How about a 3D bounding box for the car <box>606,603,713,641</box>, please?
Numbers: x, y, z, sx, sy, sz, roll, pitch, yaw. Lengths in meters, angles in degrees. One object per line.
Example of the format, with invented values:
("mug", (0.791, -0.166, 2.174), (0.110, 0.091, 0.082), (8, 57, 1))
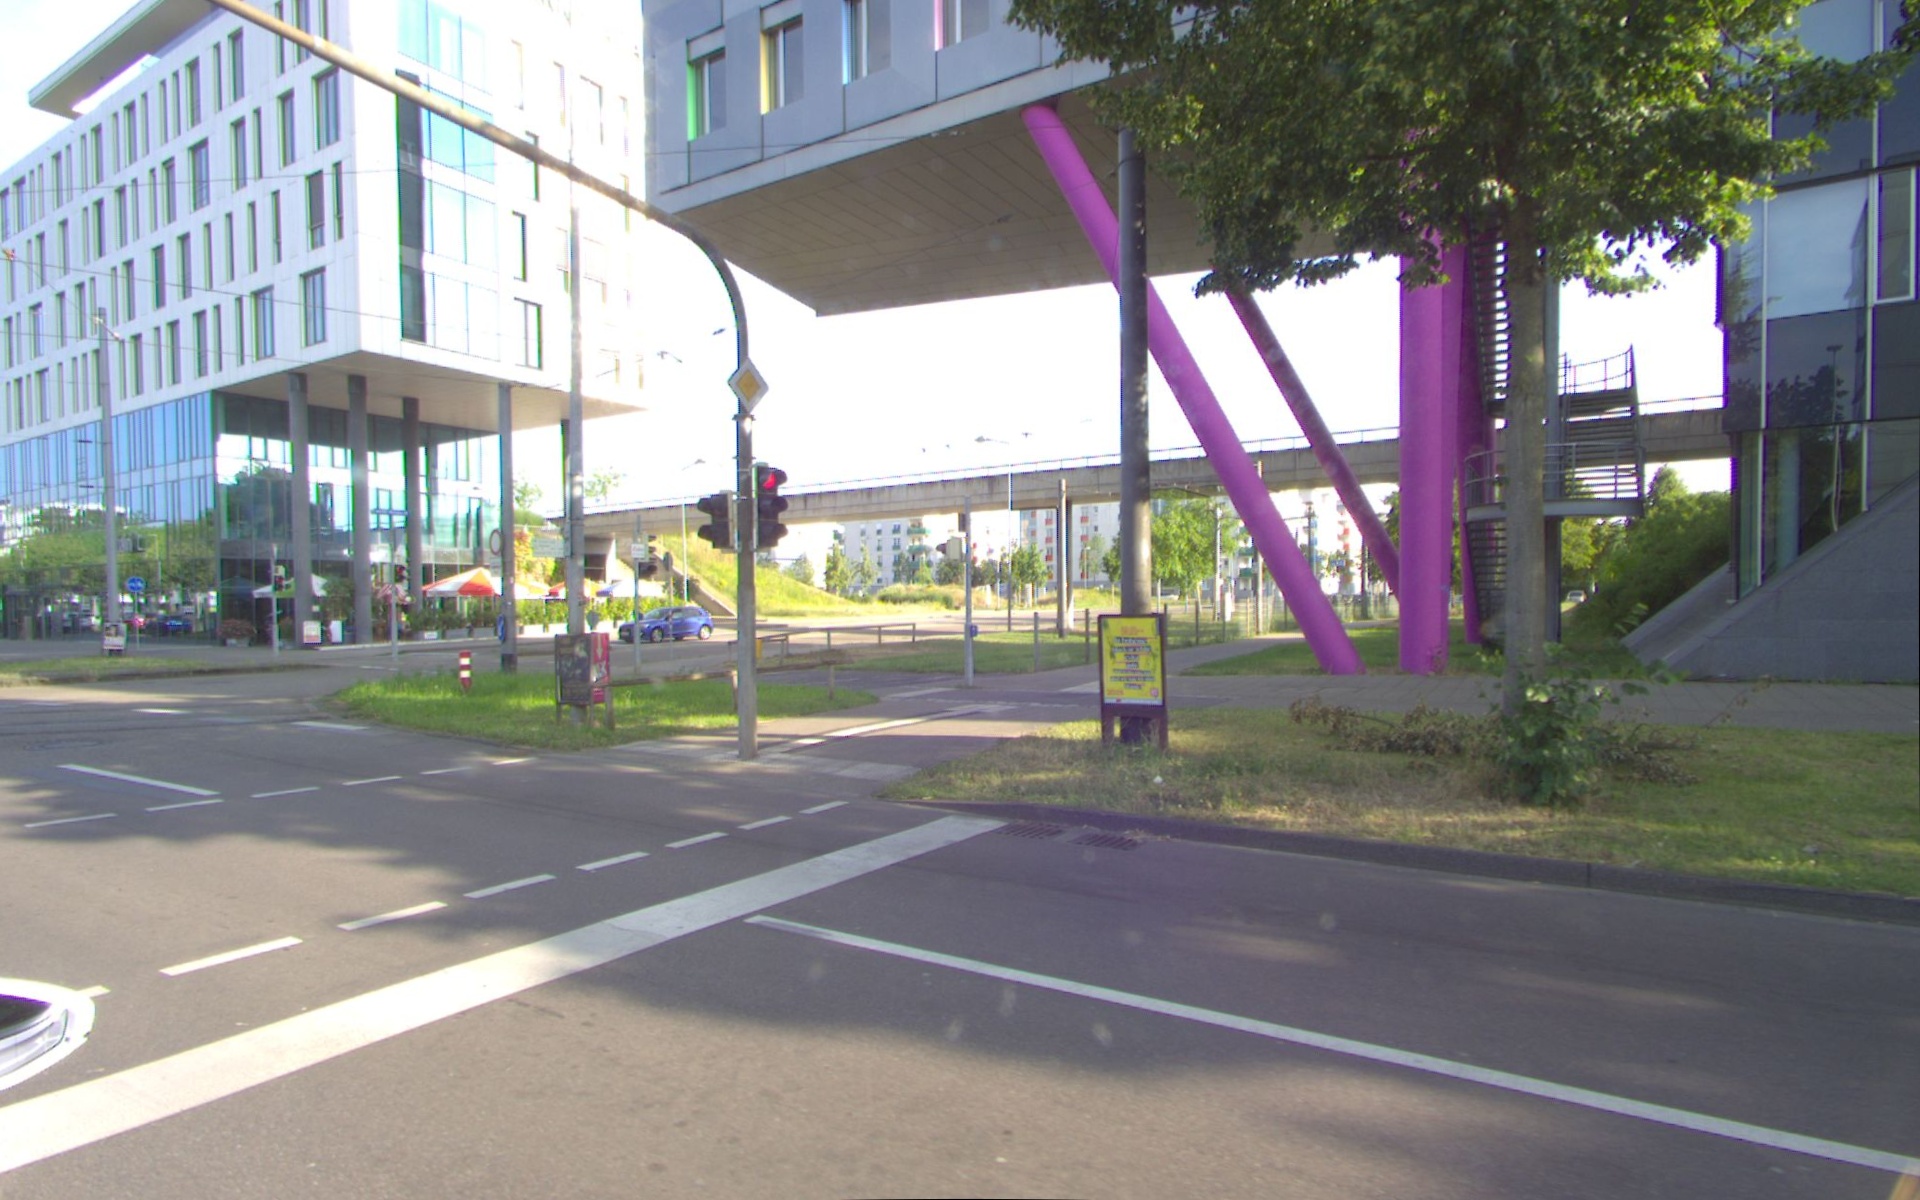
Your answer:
("car", (-12.526, 0.897, 41.987), (1.832, 1.443, 4.176), (0, 1, 31))
